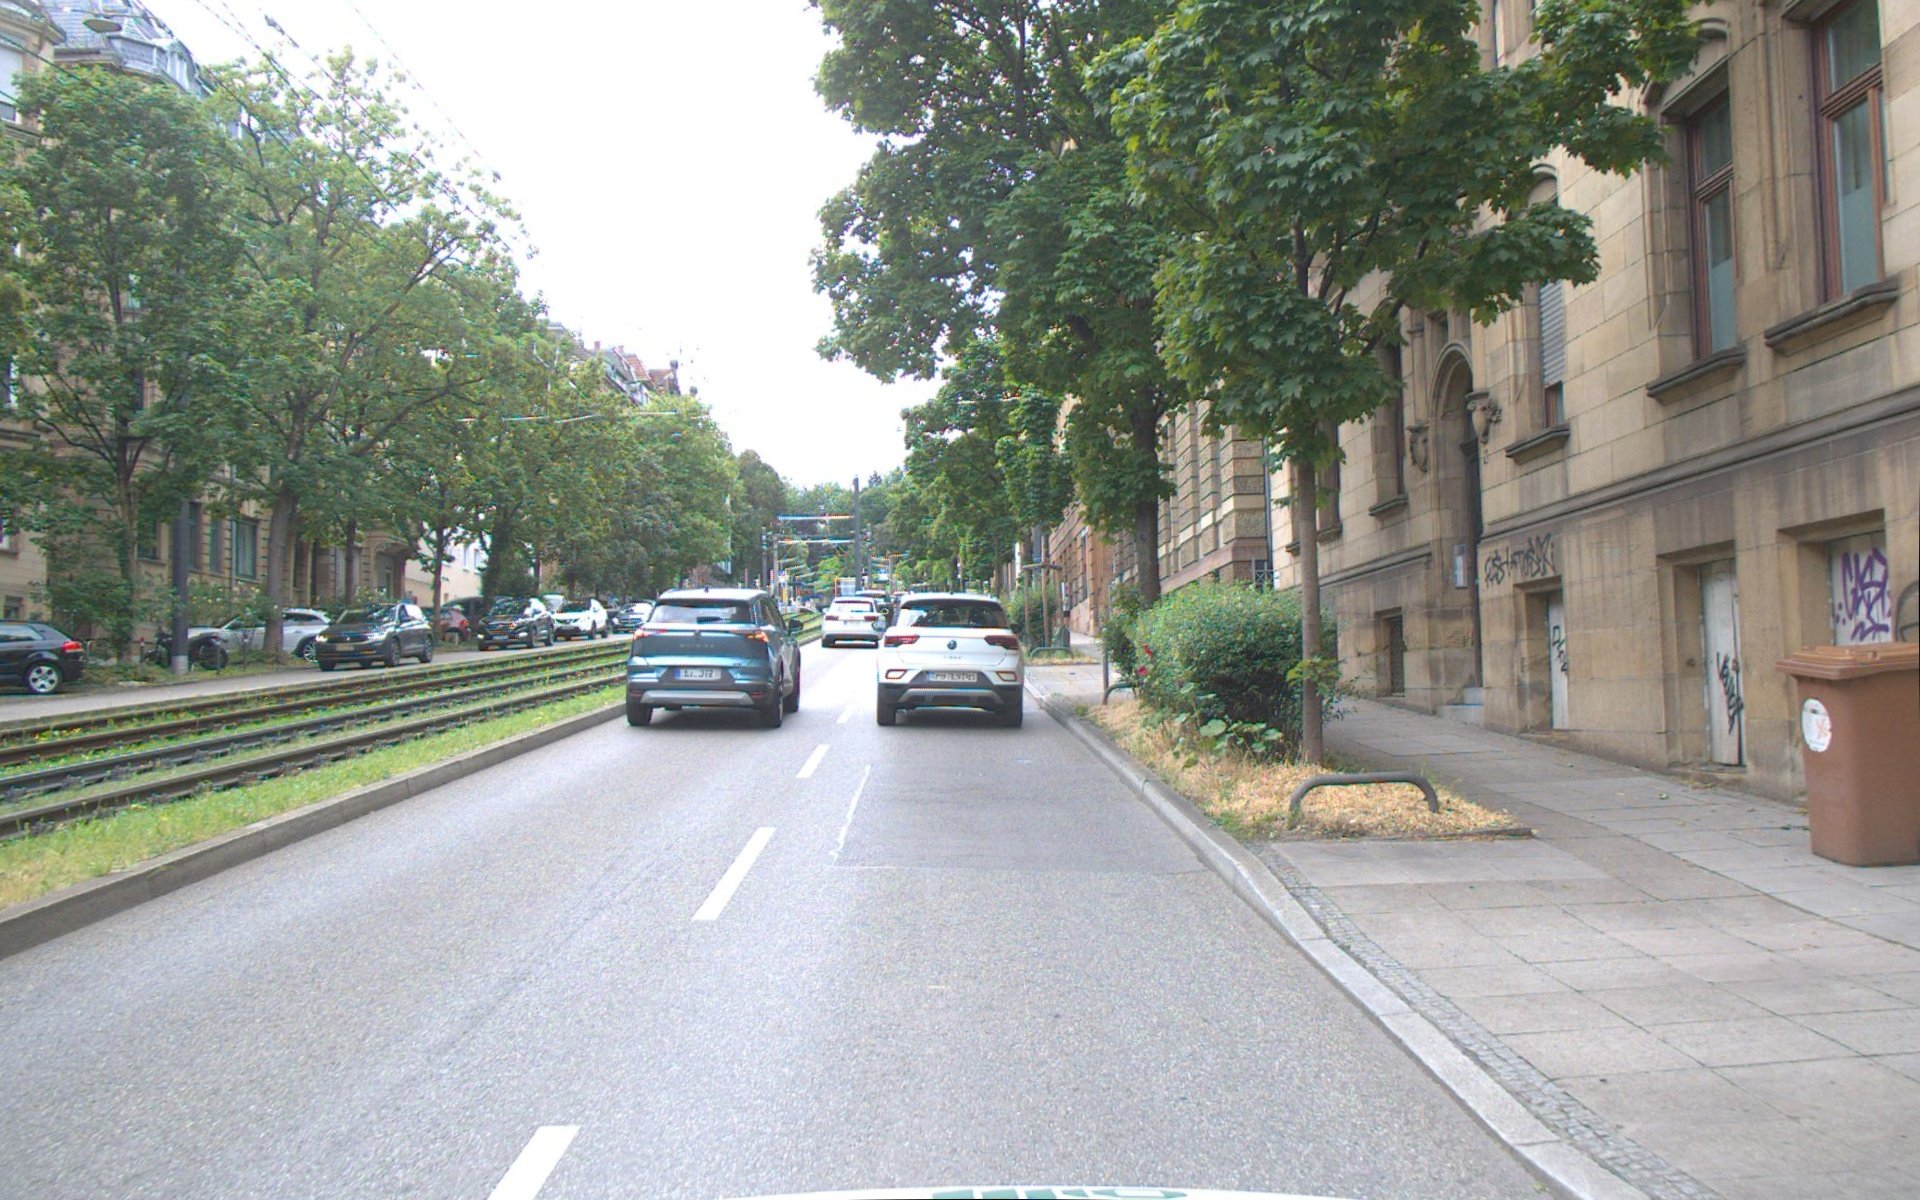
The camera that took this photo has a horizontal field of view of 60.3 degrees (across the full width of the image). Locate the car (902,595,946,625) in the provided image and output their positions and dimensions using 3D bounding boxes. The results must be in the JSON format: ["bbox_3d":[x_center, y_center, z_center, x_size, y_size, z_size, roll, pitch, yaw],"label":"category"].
[{"bbox_3d":[-1.915,0.547,89.759,2.025,1.573,4.195,0,0,3],"label":"car"}]

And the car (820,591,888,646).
[{"bbox_3d":[-3.151,0.544,49.759,1.798,1.573,4.192,1,0,-1],"label":"car"}]

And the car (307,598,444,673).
[{"bbox_3d":[-14.557,0.841,41.457,1.842,1.679,4.469,-3,0,-1],"label":"car"}]

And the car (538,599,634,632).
[{"bbox_3d":[-19.559,0.824,86.522,4.552,1.711,1.913,1,0,-35],"label":"car"}]

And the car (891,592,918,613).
[{"bbox_3d":[-4.341,0.190,129.286,2.027,1.573,4.191,1,0,-2],"label":"car"}]

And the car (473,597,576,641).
[{"bbox_3d":[-19.390,0.834,73.649,4.130,1.868,1.854,-1,0,-28],"label":"car"}]

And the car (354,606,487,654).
[{"bbox_3d":[-18.833,1.036,57.814,4.104,1.495,1.765,-2,-1,-34],"label":"car"}]

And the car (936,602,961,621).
[{"bbox_3d":[-0.989,0.969,137.392,2.026,1.573,4.192,1,0,-1],"label":"car"}]

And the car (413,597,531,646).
[{"bbox_3d":[-19.214,0.814,65.155,4.136,1.798,1.852,-1,0,-31],"label":"car"}]

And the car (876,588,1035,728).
[{"bbox_3d":[-0.117,0.669,20.864,1.799,1.573,4.191,1,0,-2],"label":"car"}]

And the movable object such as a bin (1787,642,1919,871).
[{"bbox_3d":[4.627,0.763,8.267,0.657,1.033,0.582,-3,2,-3],"label":"movable object such as a bin"}]

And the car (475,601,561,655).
[{"bbox_3d":[-14.882,0.921,55.913,1.744,1.685,4.242,-3,0,-1],"label":"car"}]

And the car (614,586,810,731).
[{"bbox_3d":[-2.906,0.646,20.240,1.798,1.573,4.192,1,0,-1],"label":"car"}]

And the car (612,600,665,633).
[{"bbox_3d":[-15.497,0.771,79.963,1.690,1.434,4.596,-3,0,-1],"label":"car"}]

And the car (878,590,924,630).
[{"bbox_3d":[-2.405,0.412,68.707,1.798,1.573,4.192,1,0,-1],"label":"car"}]

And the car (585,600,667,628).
[{"bbox_3d":[-20.500,0.854,101.484,4.554,1.646,1.912,1,0,-35],"label":"car"}]

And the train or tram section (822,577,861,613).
[{"bbox_3d":[-11.855,-0.462,166.155,2.934,3.407,13.437,-1,0,0],"label":"train or tram section"}]

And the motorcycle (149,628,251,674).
[{"bbox_3d":[-18.445,1.223,40.185,2.181,1.077,0.617,1,-1,-36],"label":"motorcycle"}]

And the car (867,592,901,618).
[{"bbox_3d":[-4.755,0.321,103.179,2.027,1.573,4.190,1,0,-4],"label":"car"}]

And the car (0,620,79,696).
[{"bbox_3d":[-18.991,1.108,31.195,4.128,1.388,1.694,-1,0,-31],"label":"car"}]

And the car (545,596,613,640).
[{"bbox_3d":[-15.447,0.722,67.221,1.744,1.645,4.345,-3,0,-1],"label":"car"}]
